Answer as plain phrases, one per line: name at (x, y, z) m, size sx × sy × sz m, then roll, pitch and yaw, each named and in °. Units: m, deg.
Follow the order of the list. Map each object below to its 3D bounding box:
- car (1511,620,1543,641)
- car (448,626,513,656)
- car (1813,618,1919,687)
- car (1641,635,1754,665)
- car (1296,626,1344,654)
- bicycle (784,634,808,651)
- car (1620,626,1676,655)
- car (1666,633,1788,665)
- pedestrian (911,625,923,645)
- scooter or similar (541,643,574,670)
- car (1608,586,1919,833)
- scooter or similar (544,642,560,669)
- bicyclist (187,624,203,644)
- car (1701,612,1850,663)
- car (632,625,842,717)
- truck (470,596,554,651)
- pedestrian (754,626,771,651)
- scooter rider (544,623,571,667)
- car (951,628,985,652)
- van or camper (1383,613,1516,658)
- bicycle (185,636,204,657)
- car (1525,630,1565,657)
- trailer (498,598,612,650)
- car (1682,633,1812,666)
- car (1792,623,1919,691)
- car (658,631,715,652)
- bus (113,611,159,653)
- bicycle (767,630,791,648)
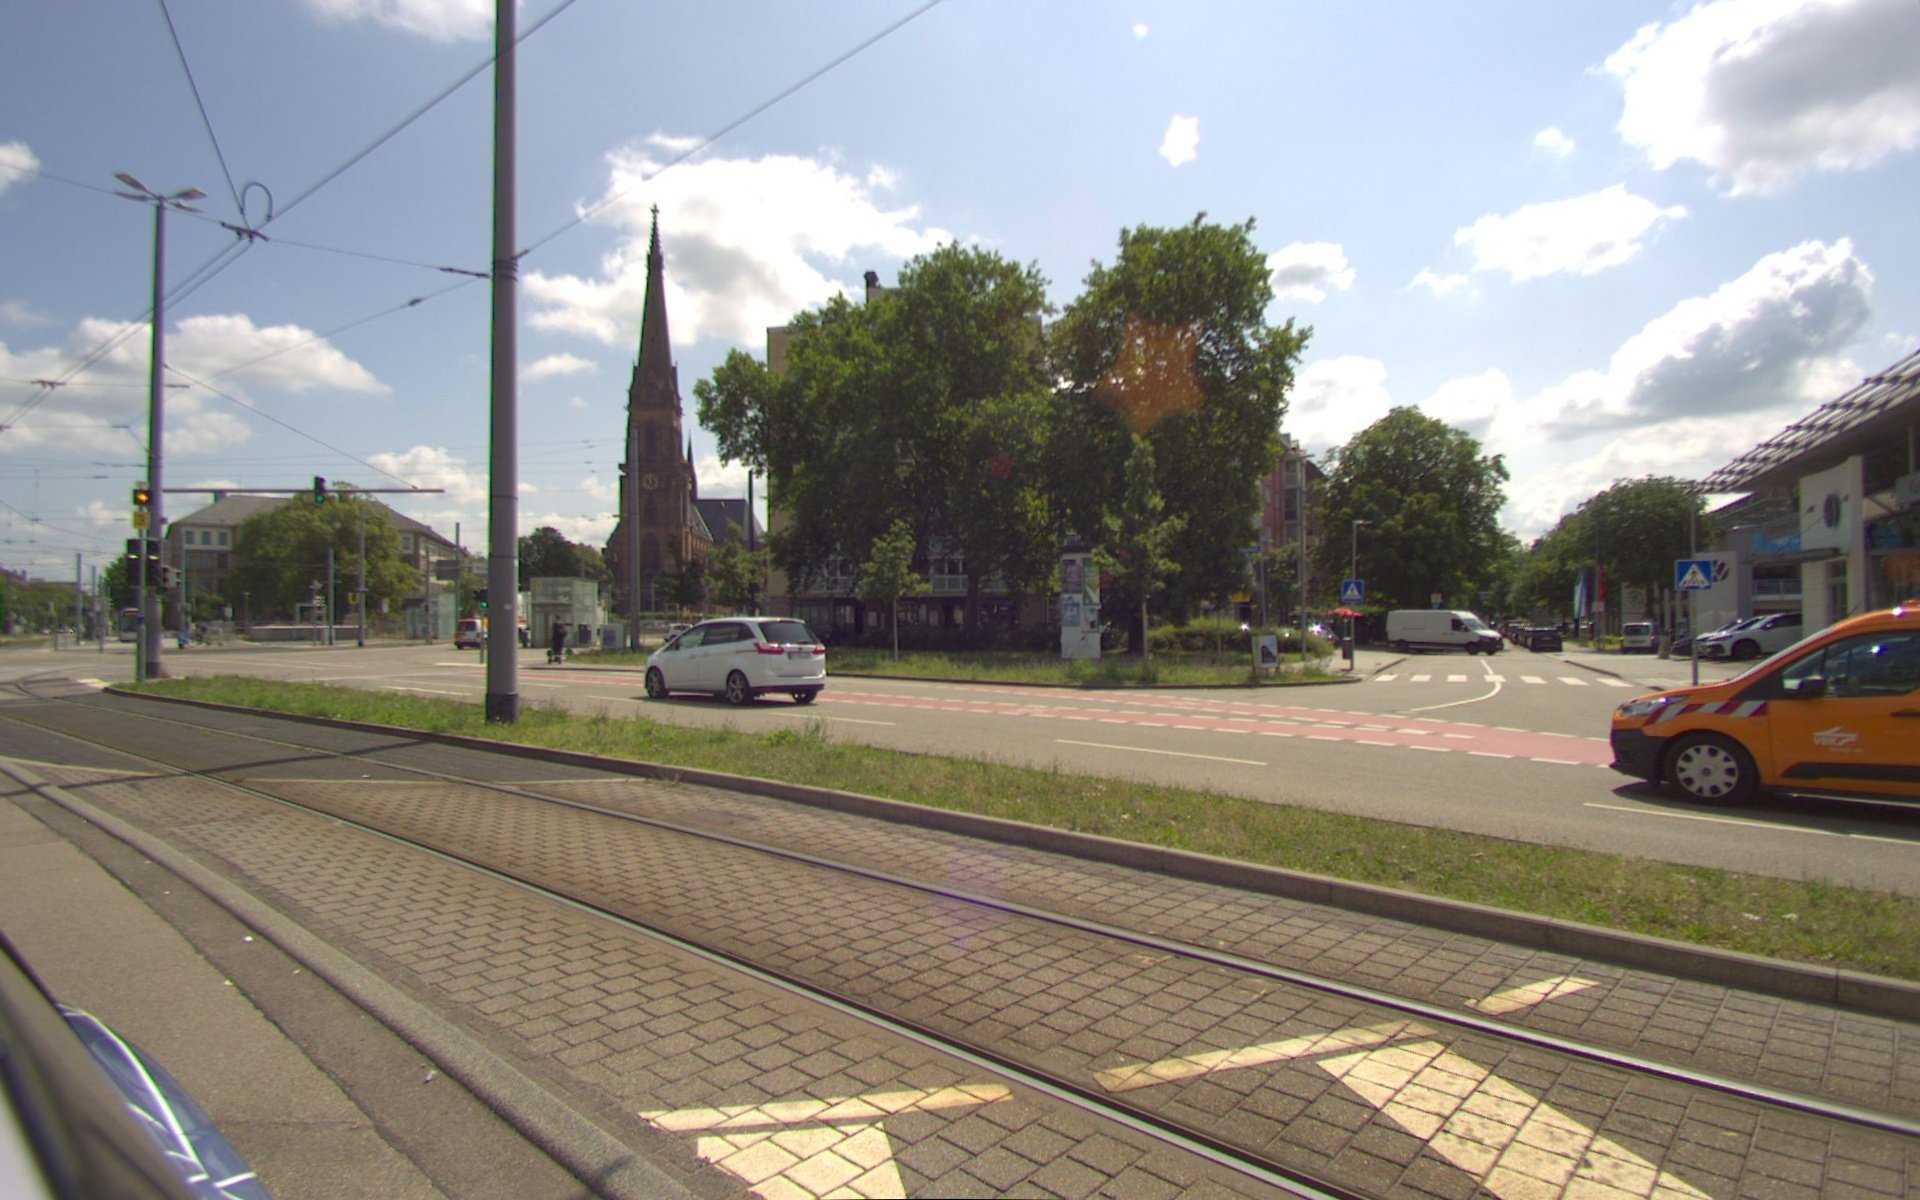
car at (46.936, 2.510, 83.757) m, size 1.994 × 1.630 × 3.954 m, roll -2°, pitch -2°, yaw 33°
car at (-29.361, 2.510, 62.135) m, size 1.749 × 1.779 × 4.235 m, roll -1°, pitch -2°, yaw 5°
car at (22.729, 1.175, 23.705) m, size 3.753 × 1.485 × 1.652 m, roll -3°, pitch -2°, yaw 16°
car at (32.037, 2.159, 44.076) m, size 3.606 × 1.255 × 1.549 m, roll -1°, pitch -2°, yaw 16°
car at (22.721, 2.539, 64.041) m, size 1.976 × 1.719 × 3.992 m, roll -1°, pitch -2°, yaw 6°
bicycle at (-11.226, 2.920, 69.350) m, size 1.583 × 1.176 × 0.492 m, roll -1°, pitch -2°, yaw 8°
car at (39.985, 2.317, 58.807) m, size 2.001 × 1.630 × 3.941 m, roll -2°, pitch -2°, yaw 45°
car at (31.252, 1.982, 41.352) m, size 3.606 × 1.255 × 1.549 m, roll -1°, pitch -2°, yaw 16°
pedestrian at (-2.963, 2.399, 69.091) m, size 0.750 × 1.336 × 0.562 m, roll -1°, pitch -2°, yaw 3°
scooter or similar at (-16.154, 2.255, 40.622) m, size 1.091 × 1.040 × 0.796 m, roll -2°, pitch -2°, yaw 39°
car at (8.101, 0.861, 8.254) m, size 1.887 × 1.880 × 4.373 m, roll 3°, pitch -4°, yaw -41°
scooter or similar at (-18.541, 2.515, 45.987) m, size 0.549 × 1.209 × 0.457 m, roll -2°, pitch -3°, yaw 38°
bicyclist at (-78.664, 3.459, 104.036) m, size 1.108 × 2.029 × 1.321 m, roll 3°, pitch -3°, yaw -42°
car at (29.490, 1.360, 36.746) m, size 3.843 × 1.788 × 1.686 m, roll -1°, pitch -2°, yaw 25°
car at (-4.506, 1.342, 20.070) m, size 4.492 × 1.616 × 1.748 m, roll -2°, pitch -4°, yaw 42°
truck at (-35.109, 1.880, 79.608) m, size 2.929 × 4.150 × 6.861 m, roll -1°, pitch -2°, yaw 8°
pedestrian at (-12.495, 2.447, 64.030) m, size 0.872 × 1.572 × 0.720 m, roll -2°, pitch -2°, yaw 16°
scooter rider at (-16.152, 1.791, 40.623) m, size 0.648 × 1.720 × 0.769 m, roll -2°, pitch -2°, yaw 38°
car at (0.566, 2.660, 66.933) m, size 1.856 × 1.522 × 3.924 m, roll -1°, pitch -2°, yaw 6°
van or camper at (28.895, 2.103, 60.041) m, size 2.536 × 2.518 × 6.700 m, roll 1°, pitch -2°, yaw -33°
bicycle at (-78.639, 4.758, 103.930) m, size 1.229 × 2.029 × 3.488 m, roll 1°, pitch -2°, yaw -42°
car at (37.699, 2.760, 65.203) m, size 1.994 × 1.697 × 3.954 m, roll -2°, pitch -2°, yaw 33°
trailer at (-34.226, 2.076, 86.407) m, size 2.914 × 4.107 × 13.387 m, roll -1°, pitch -2°, yaw 7°
car at (30.419, 1.910, 39.209) m, size 3.611 × 1.255 × 1.547 m, roll -1°, pitch -2°, yaw 20°
car at (24.254, 1.455, 26.376) m, size 3.587 × 1.685 × 1.777 m, roll 0°, pitch -2°, yaw -1°
car at (-21.719, 3.299, 80.480) m, size 4.102 × 1.655 × 1.634 m, roll 1°, pitch -2°, yaw -33°
bus at (-70.604, 2.779, 86.655) m, size 2.906 × 3.474 × 7.960 m, roll 1°, pitch -3°, yaw -40°
bicycle at (-13.059, 2.816, 73.021) m, size 1.583 × 1.274 × 0.492 m, roll -1°, pitch -2°, yaw 8°
